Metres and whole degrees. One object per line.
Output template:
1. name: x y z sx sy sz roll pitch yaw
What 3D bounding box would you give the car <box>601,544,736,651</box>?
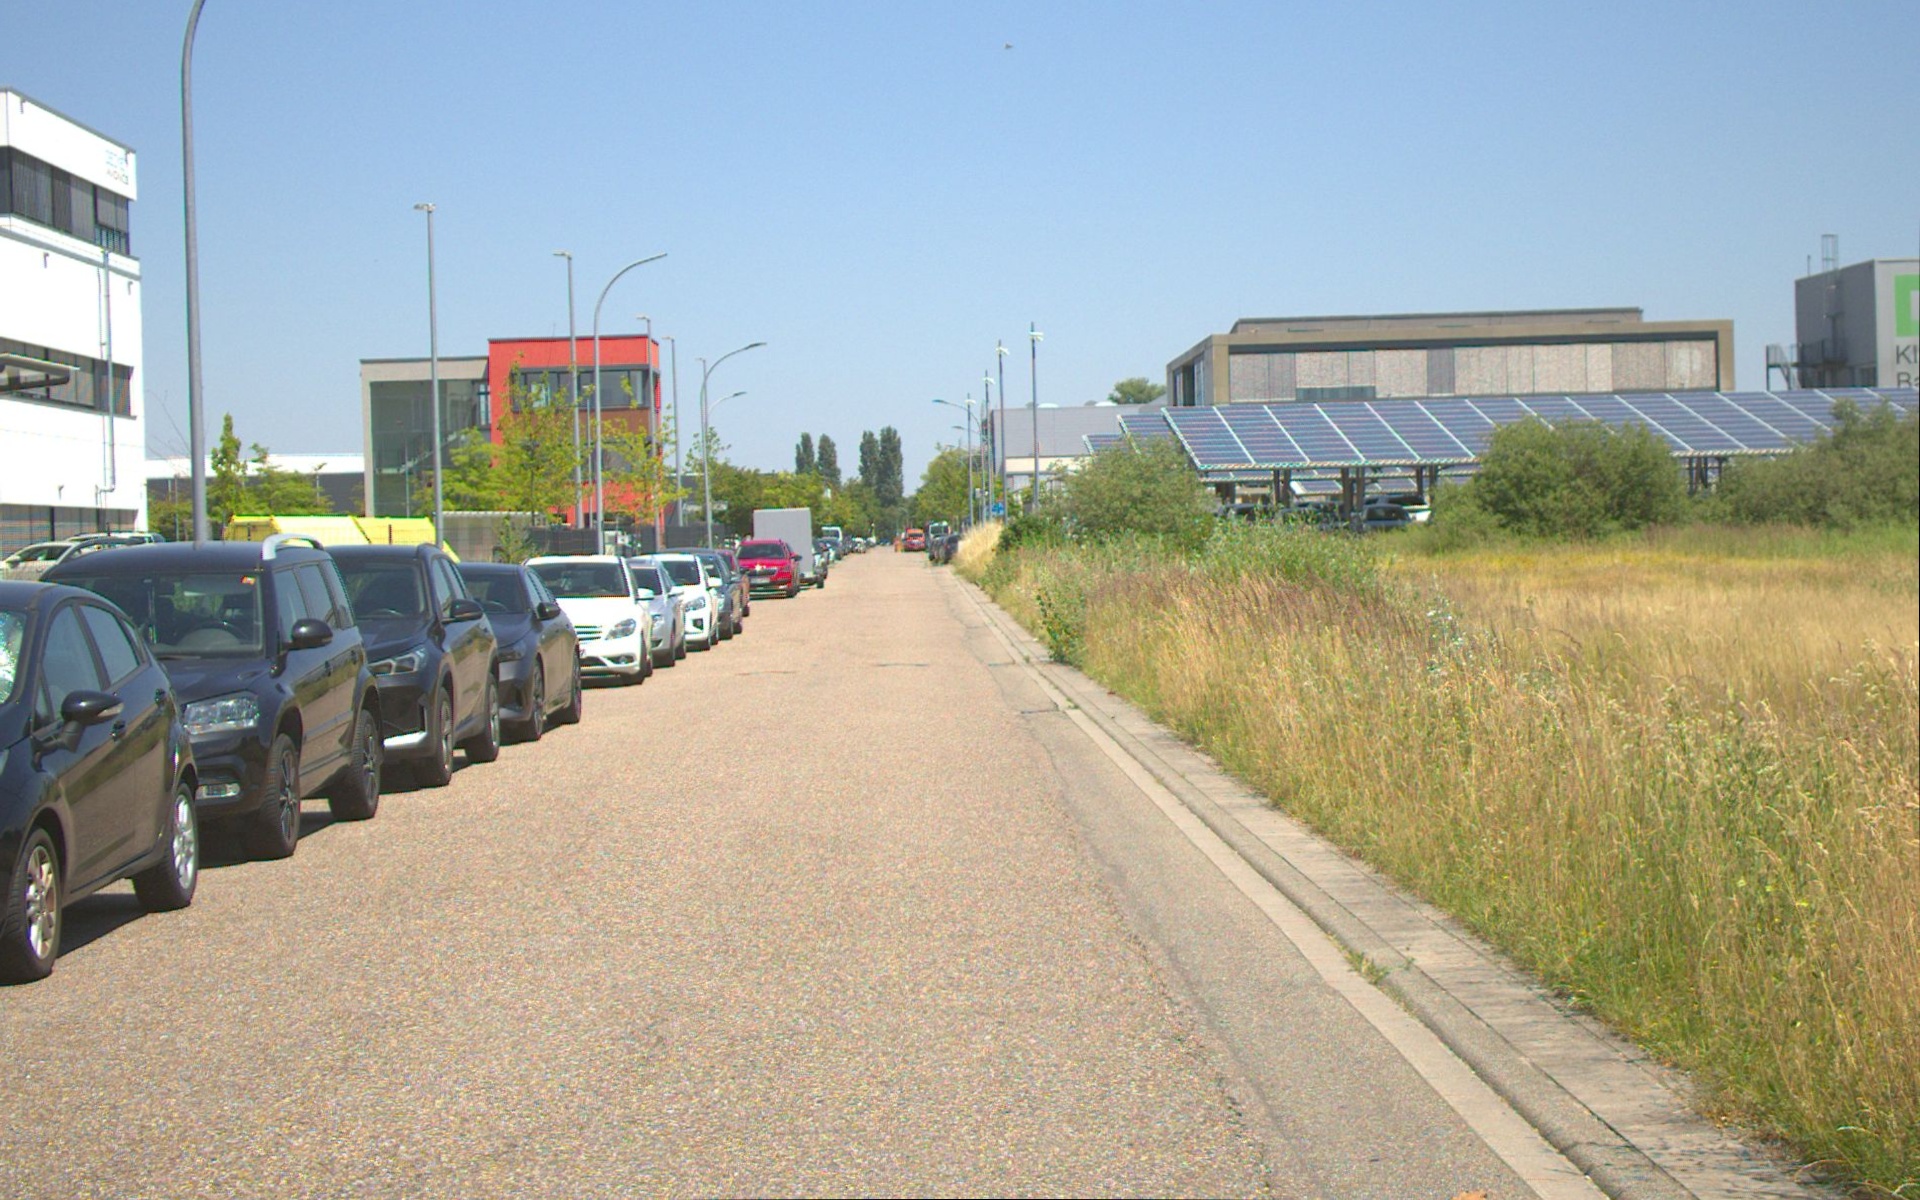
1. car: -4.521 -0.069 53.869 1.787 1.515 3.983 -2 1 -1

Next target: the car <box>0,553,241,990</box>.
1. car: -4.105 0.598 13.916 1.590 1.487 3.833 -2 1 -1

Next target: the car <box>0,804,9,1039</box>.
1. car: -3.919 0.671 8.722 1.926 1.562 4.190 -2 1 -2

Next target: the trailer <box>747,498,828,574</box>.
1. trailer: -5.118 -1.907 102.502 2.201 2.130 4.286 -2 1 -1

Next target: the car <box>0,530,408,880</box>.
1. car: -4.227 0.477 18.994 1.677 1.657 4.236 -2 1 -1

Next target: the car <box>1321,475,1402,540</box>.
1. car: 12.881 -2.957 110.471 1.993 2.007 4.000 -2 1 -1

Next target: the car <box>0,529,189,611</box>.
1. car: -22.512 -0.781 89.102 4.528 1.936 2.031 -2 1 0

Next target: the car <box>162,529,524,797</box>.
1. car: -4.266 0.358 24.453 1.768 1.657 4.552 -2 1 -1

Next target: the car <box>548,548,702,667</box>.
1. car: -4.652 0.073 48.213 1.787 1.515 3.983 -2 1 -1

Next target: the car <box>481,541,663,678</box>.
1. car: -4.694 0.081 42.106 1.787 1.515 3.983 -2 1 -1

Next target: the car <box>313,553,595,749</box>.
1. car: -4.354 0.377 30.287 1.768 1.480 5.015 -2 1 -1

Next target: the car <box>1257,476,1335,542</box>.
1. car: 10.764 -2.896 110.291 1.993 2.007 4.000 -2 1 -1

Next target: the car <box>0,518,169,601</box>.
1. car: -22.425 -1.020 86.468 4.528 1.936 2.031 -2 1 0

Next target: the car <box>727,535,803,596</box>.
1. car: -5.108 -0.919 90.605 1.787 1.515 3.983 -2 1 -1

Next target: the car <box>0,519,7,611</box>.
1. car: -22.472 -0.648 71.756 4.528 1.936 2.031 -2 1 0

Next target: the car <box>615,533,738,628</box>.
1. car: -4.832 -0.365 59.040 1.787 1.515 3.983 -2 1 -1
